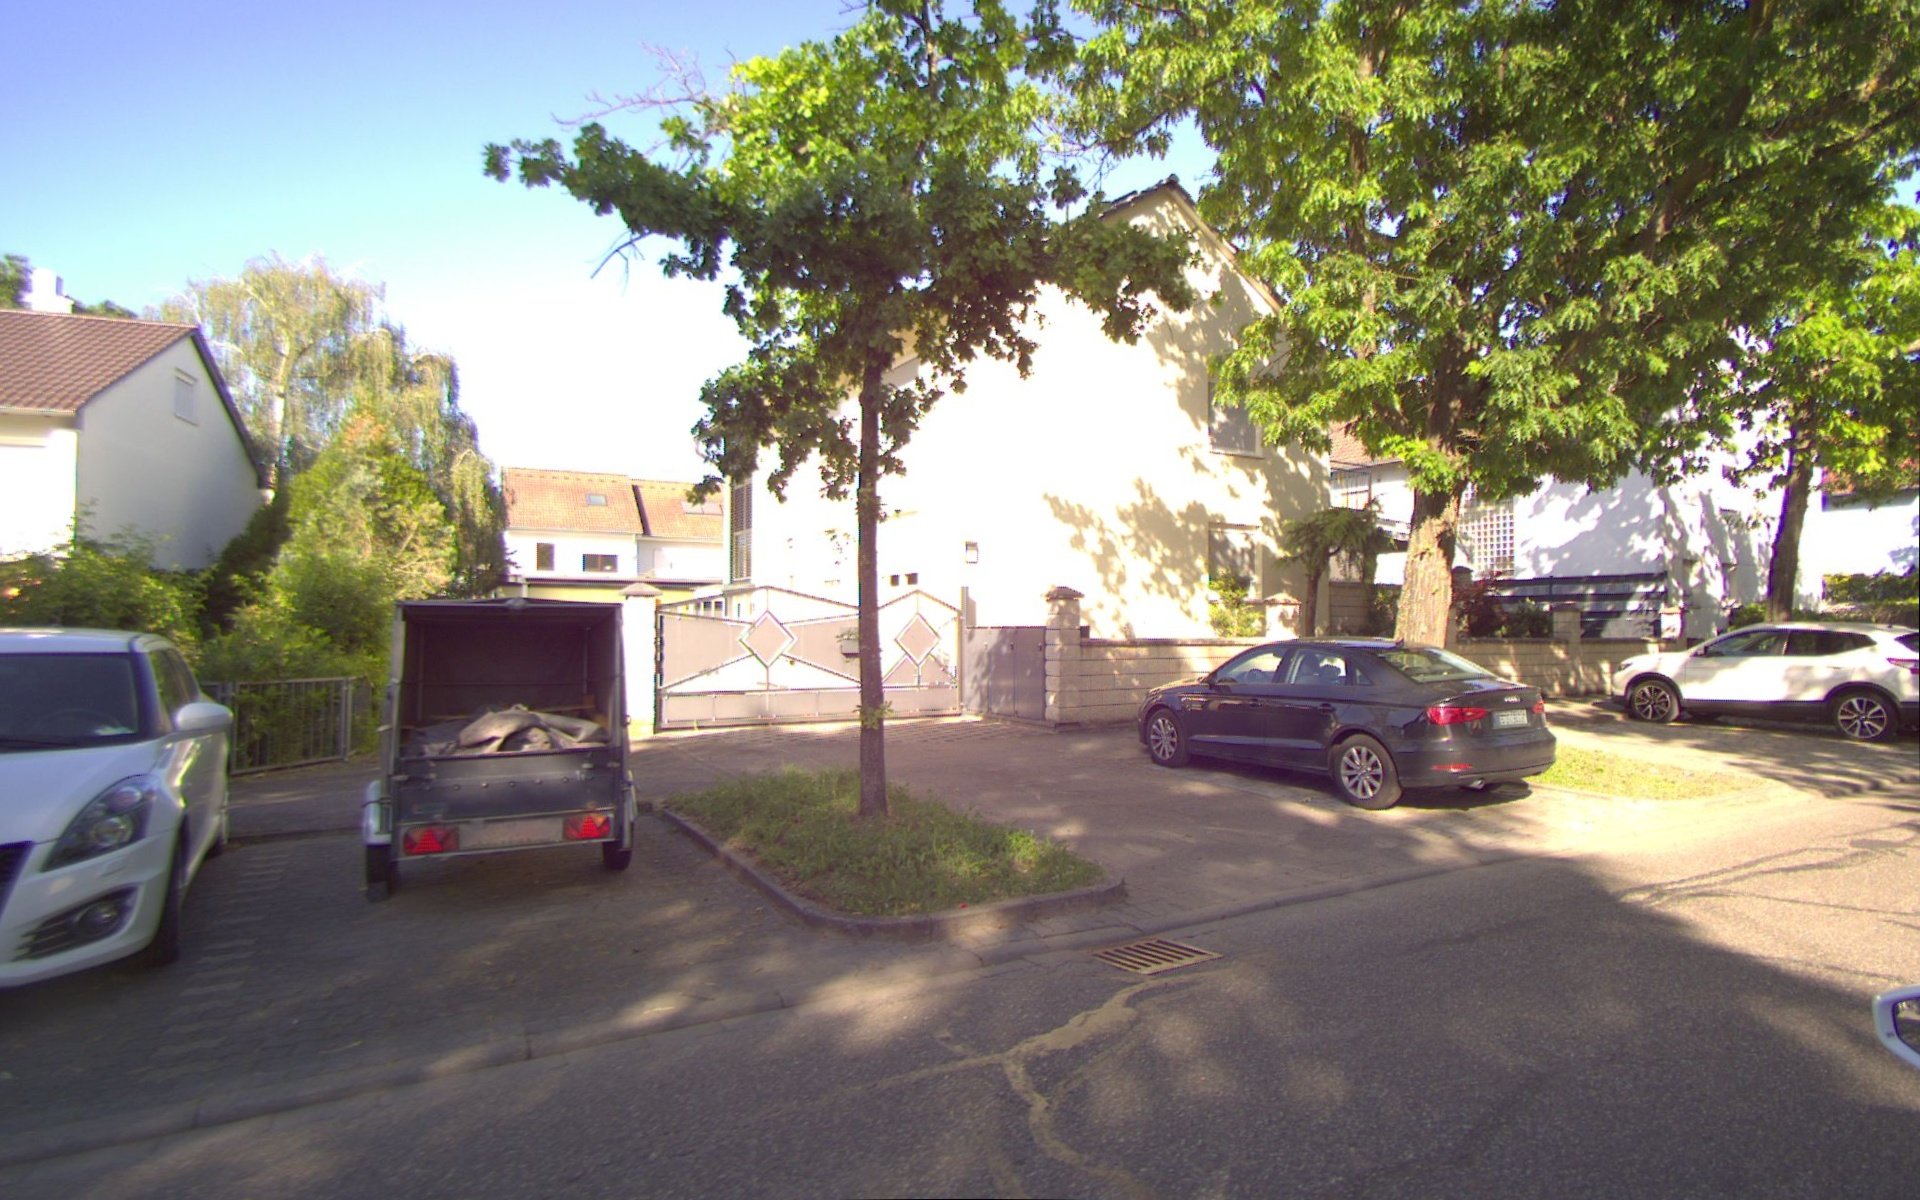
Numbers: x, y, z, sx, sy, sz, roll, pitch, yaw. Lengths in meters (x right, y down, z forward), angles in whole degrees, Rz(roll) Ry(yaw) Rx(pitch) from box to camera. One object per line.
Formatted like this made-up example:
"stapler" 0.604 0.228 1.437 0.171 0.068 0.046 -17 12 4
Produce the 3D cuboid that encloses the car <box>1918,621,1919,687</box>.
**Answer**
"car" 25.118 1.292 23.224 1.836 1.616 3.968 2 -3 -30

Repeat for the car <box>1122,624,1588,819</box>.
"car" 3.592 1.000 9.958 1.671 1.491 4.190 1 -2 -30

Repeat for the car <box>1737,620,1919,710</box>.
"car" 16.776 1.162 18.092 1.790 1.442 4.012 1 0 -32

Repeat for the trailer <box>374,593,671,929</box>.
"trailer" -2.782 0.842 6.400 1.455 1.696 2.229 0 -1 -26

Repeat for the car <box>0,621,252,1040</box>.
"car" -4.852 0.888 5.253 1.672 1.536 3.964 1 -1 -33

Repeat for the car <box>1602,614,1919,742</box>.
"car" 12.380 1.056 15.183 1.770 1.588 4.169 1 0 -29
